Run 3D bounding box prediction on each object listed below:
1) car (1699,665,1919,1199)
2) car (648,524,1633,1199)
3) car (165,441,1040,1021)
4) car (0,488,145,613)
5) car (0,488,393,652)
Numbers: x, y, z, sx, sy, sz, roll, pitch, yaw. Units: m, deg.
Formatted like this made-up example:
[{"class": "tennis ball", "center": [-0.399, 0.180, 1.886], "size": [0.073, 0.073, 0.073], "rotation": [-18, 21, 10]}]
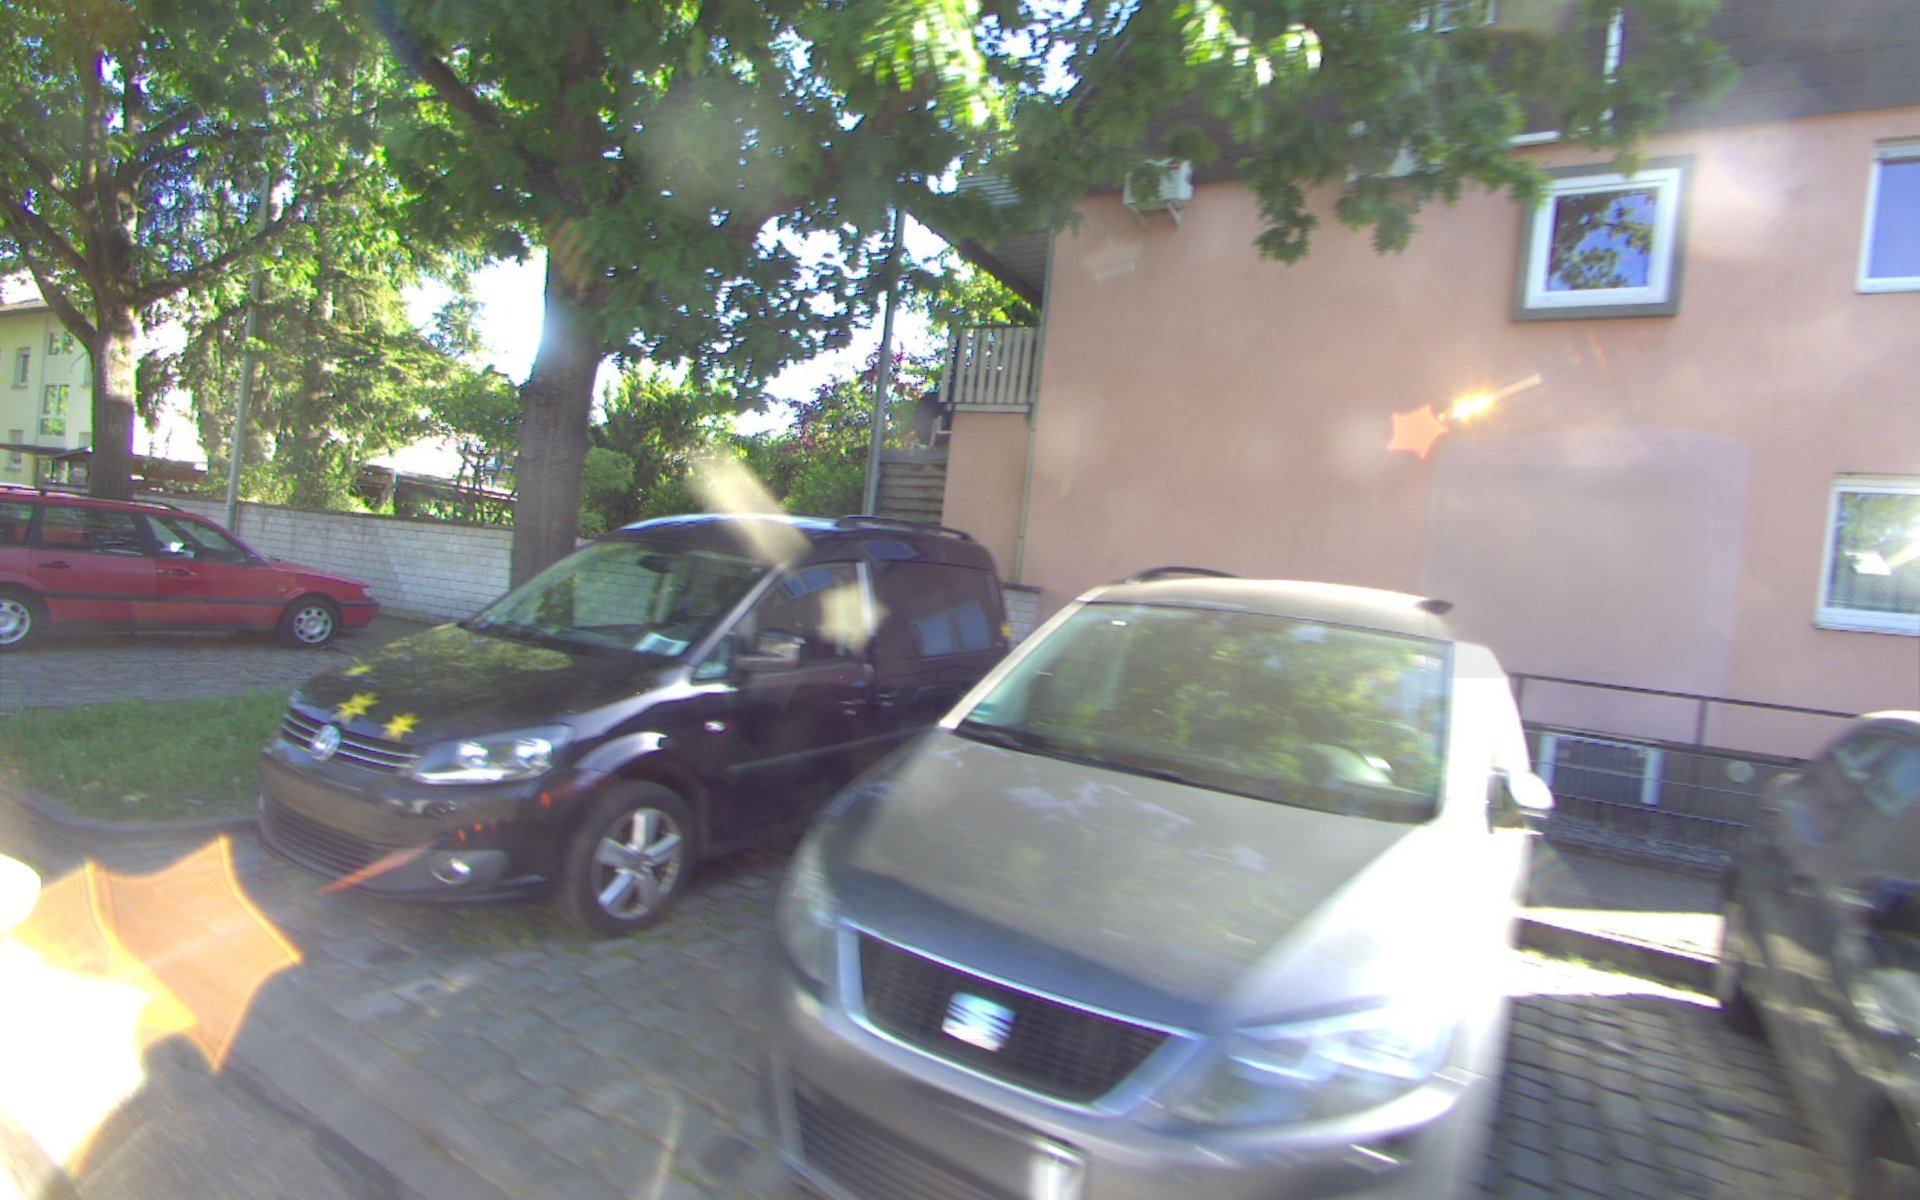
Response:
[{"class": "car", "center": [3.301, 1.055, 2.700], "size": [1.656, 1.380, 3.944], "rotation": [7, 3, 31]}, {"class": "car", "center": [1.174, 0.786, 3.942], "size": [1.847, 1.702, 4.505], "rotation": [6, 2, 28]}, {"class": "car", "center": [-1.355, 0.378, 5.411], "size": [1.759, 1.806, 4.212], "rotation": [7, 3, 30]}, {"class": "car", "center": [-12.760, -0.704, 12.441], "size": [1.726, 1.503, 3.779], "rotation": [5, 1, 31]}, {"class": "car", "center": [-8.682, -0.309, 10.465], "size": [1.807, 1.465, 4.504], "rotation": [6, 2, 31]}]
